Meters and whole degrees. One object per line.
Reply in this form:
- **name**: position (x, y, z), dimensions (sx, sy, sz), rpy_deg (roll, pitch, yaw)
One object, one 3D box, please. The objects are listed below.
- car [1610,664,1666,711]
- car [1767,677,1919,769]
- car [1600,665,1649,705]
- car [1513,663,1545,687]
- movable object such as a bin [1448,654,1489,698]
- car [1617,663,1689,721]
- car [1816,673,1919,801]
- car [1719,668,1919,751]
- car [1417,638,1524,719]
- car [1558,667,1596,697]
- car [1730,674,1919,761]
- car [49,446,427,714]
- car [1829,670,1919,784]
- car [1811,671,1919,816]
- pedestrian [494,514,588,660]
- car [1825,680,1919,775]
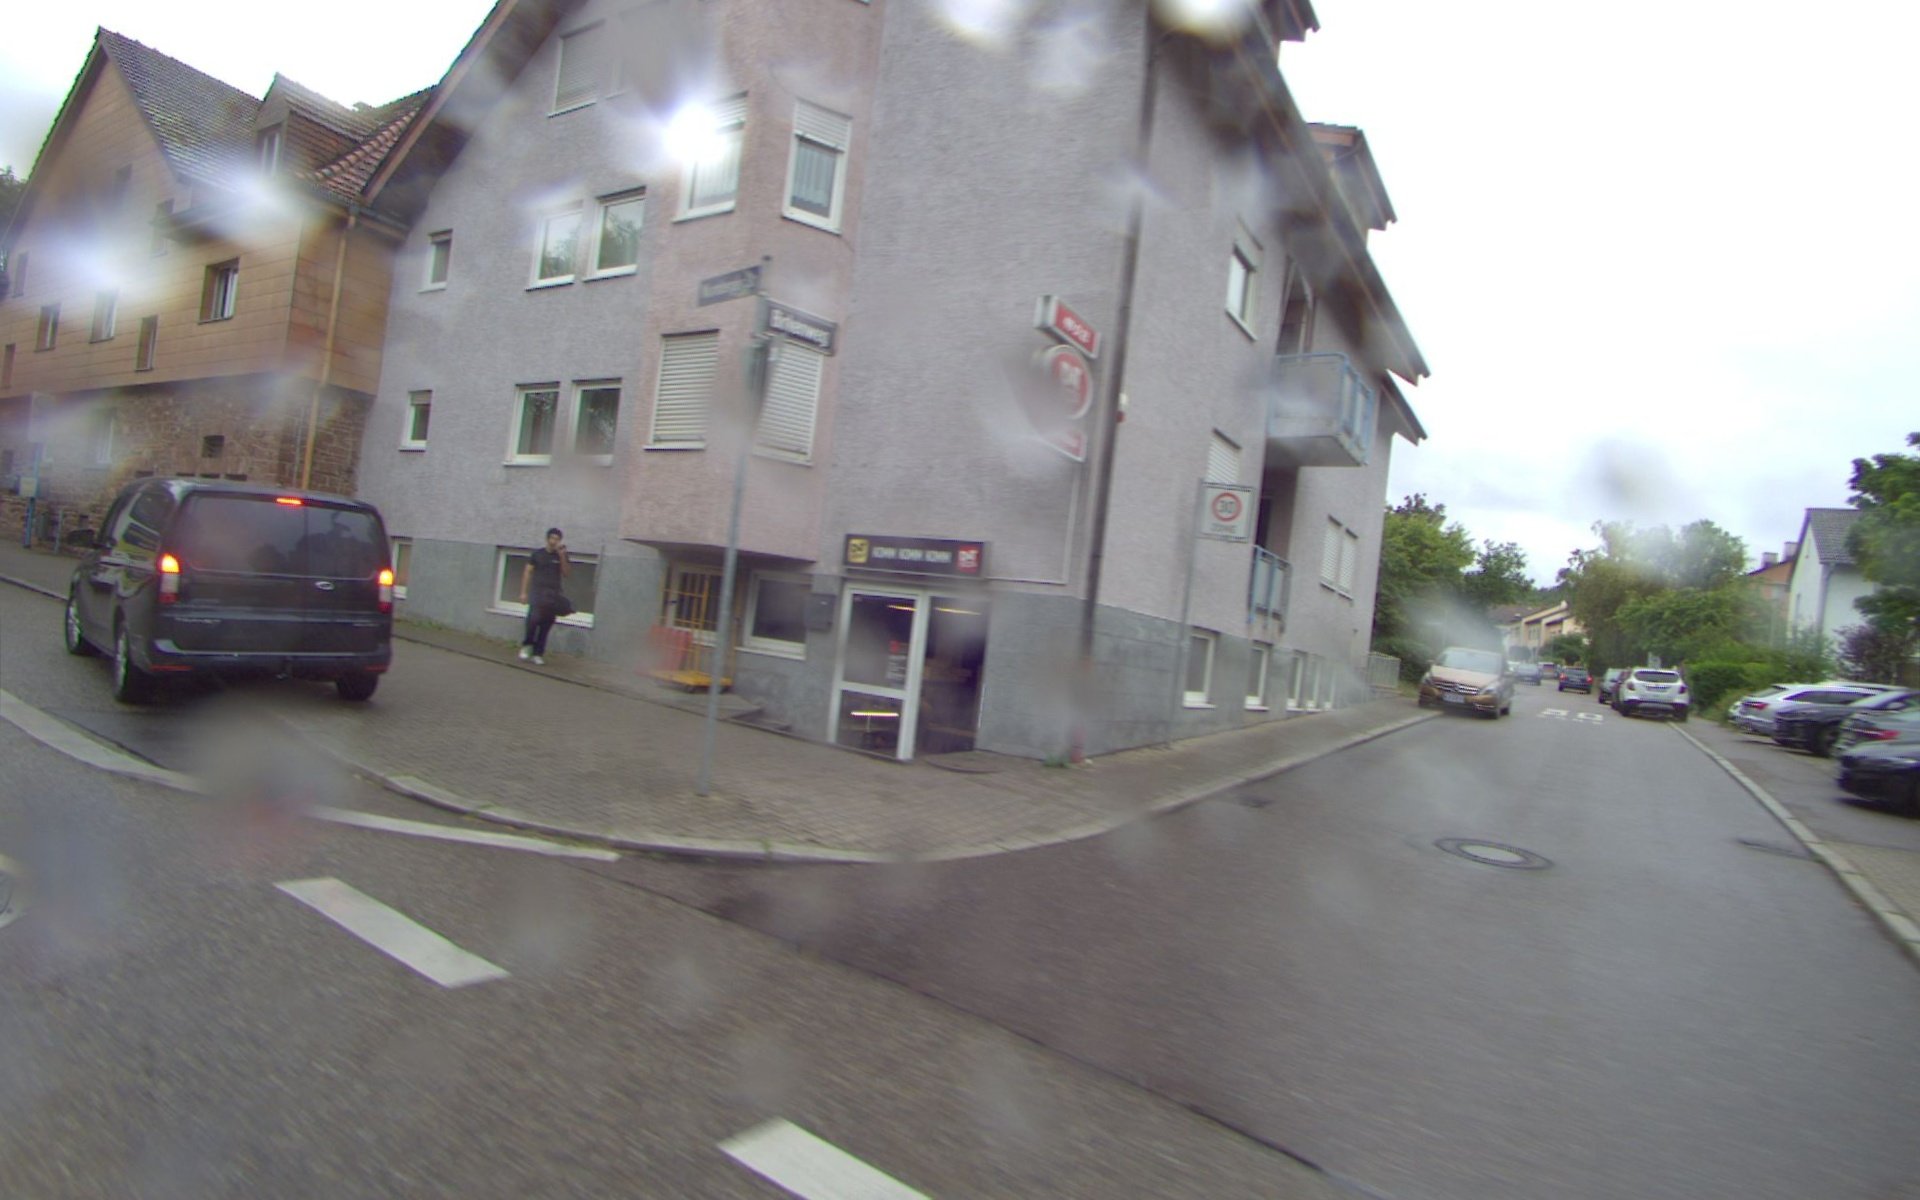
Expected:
- **car**: position (25.439, 3.224, 37.719), dimensions (1.575, 1.529, 3.587), rpy_deg (5, 0, 35)
- **car**: position (18.693, 2.516, 20.271), dimensions (3.542, 1.529, 1.595), rpy_deg (4, 0, 33)
- **car**: position (29.441, 3.737, 44.557), dimensions (1.576, 1.529, 3.586), rpy_deg (5, 0, 36)
- **car**: position (41.128, 5.418, 72.713), dimensions (1.575, 1.529, 3.587), rpy_deg (5, 0, 35)
- **movable object such as a bin**: position (18.665, 2.786, 36.914), dimensions (1.039, 1.363, 1.133), rpy_deg (10, -1, 33)
- **car**: position (22.900, 2.979, 33.286), dimensions (1.744, 1.643, 3.588), rpy_deg (5, 0, 35)
- **car**: position (14.665, 2.076, 14.241), dimensions (3.617, 1.655, 1.643), rpy_deg (5, 1, 36)
- **car**: position (23.378, 2.896, 27.122), dimensions (4.372, 1.709, 1.709), rpy_deg (4, 0, 32)
- **car**: position (12.634, 1.898, 24.802), dimensions (1.737, 1.584, 3.612), rpy_deg (10, 3, 34)
- **car**: position (36.226, 4.776, 59.008), dimensions (1.575, 1.529, 3.587), rpy_deg (5, 0, 35)
- **car**: position (19.880, 2.631, 22.835), dimensions (3.541, 1.529, 1.596), rpy_deg (4, 0, 31)
- **car**: position (-6.970, -0.297, 9.465), dimensions (4.696, 1.917, 1.922), rpy_deg (8, 2, 43)
- **car**: position (16.826, 2.238, 16.253), dimensions (3.836, 1.706, 1.645), rpy_deg (6, 2, 32)
- **car**: position (13.058, 1.935, 12.463), dimensions (3.567, 1.655, 1.594), rpy_deg (6, 1, 36)
- **pedestrian**: position (-5.459, -0.165, 13.116), dimensions (0.658, 1.776, 0.691), rpy_deg (9, 2, 33)
- **car**: position (18.110, 2.427, 18.100), dimensions (3.541, 1.530, 1.595), rpy_deg (5, 1, 32)
